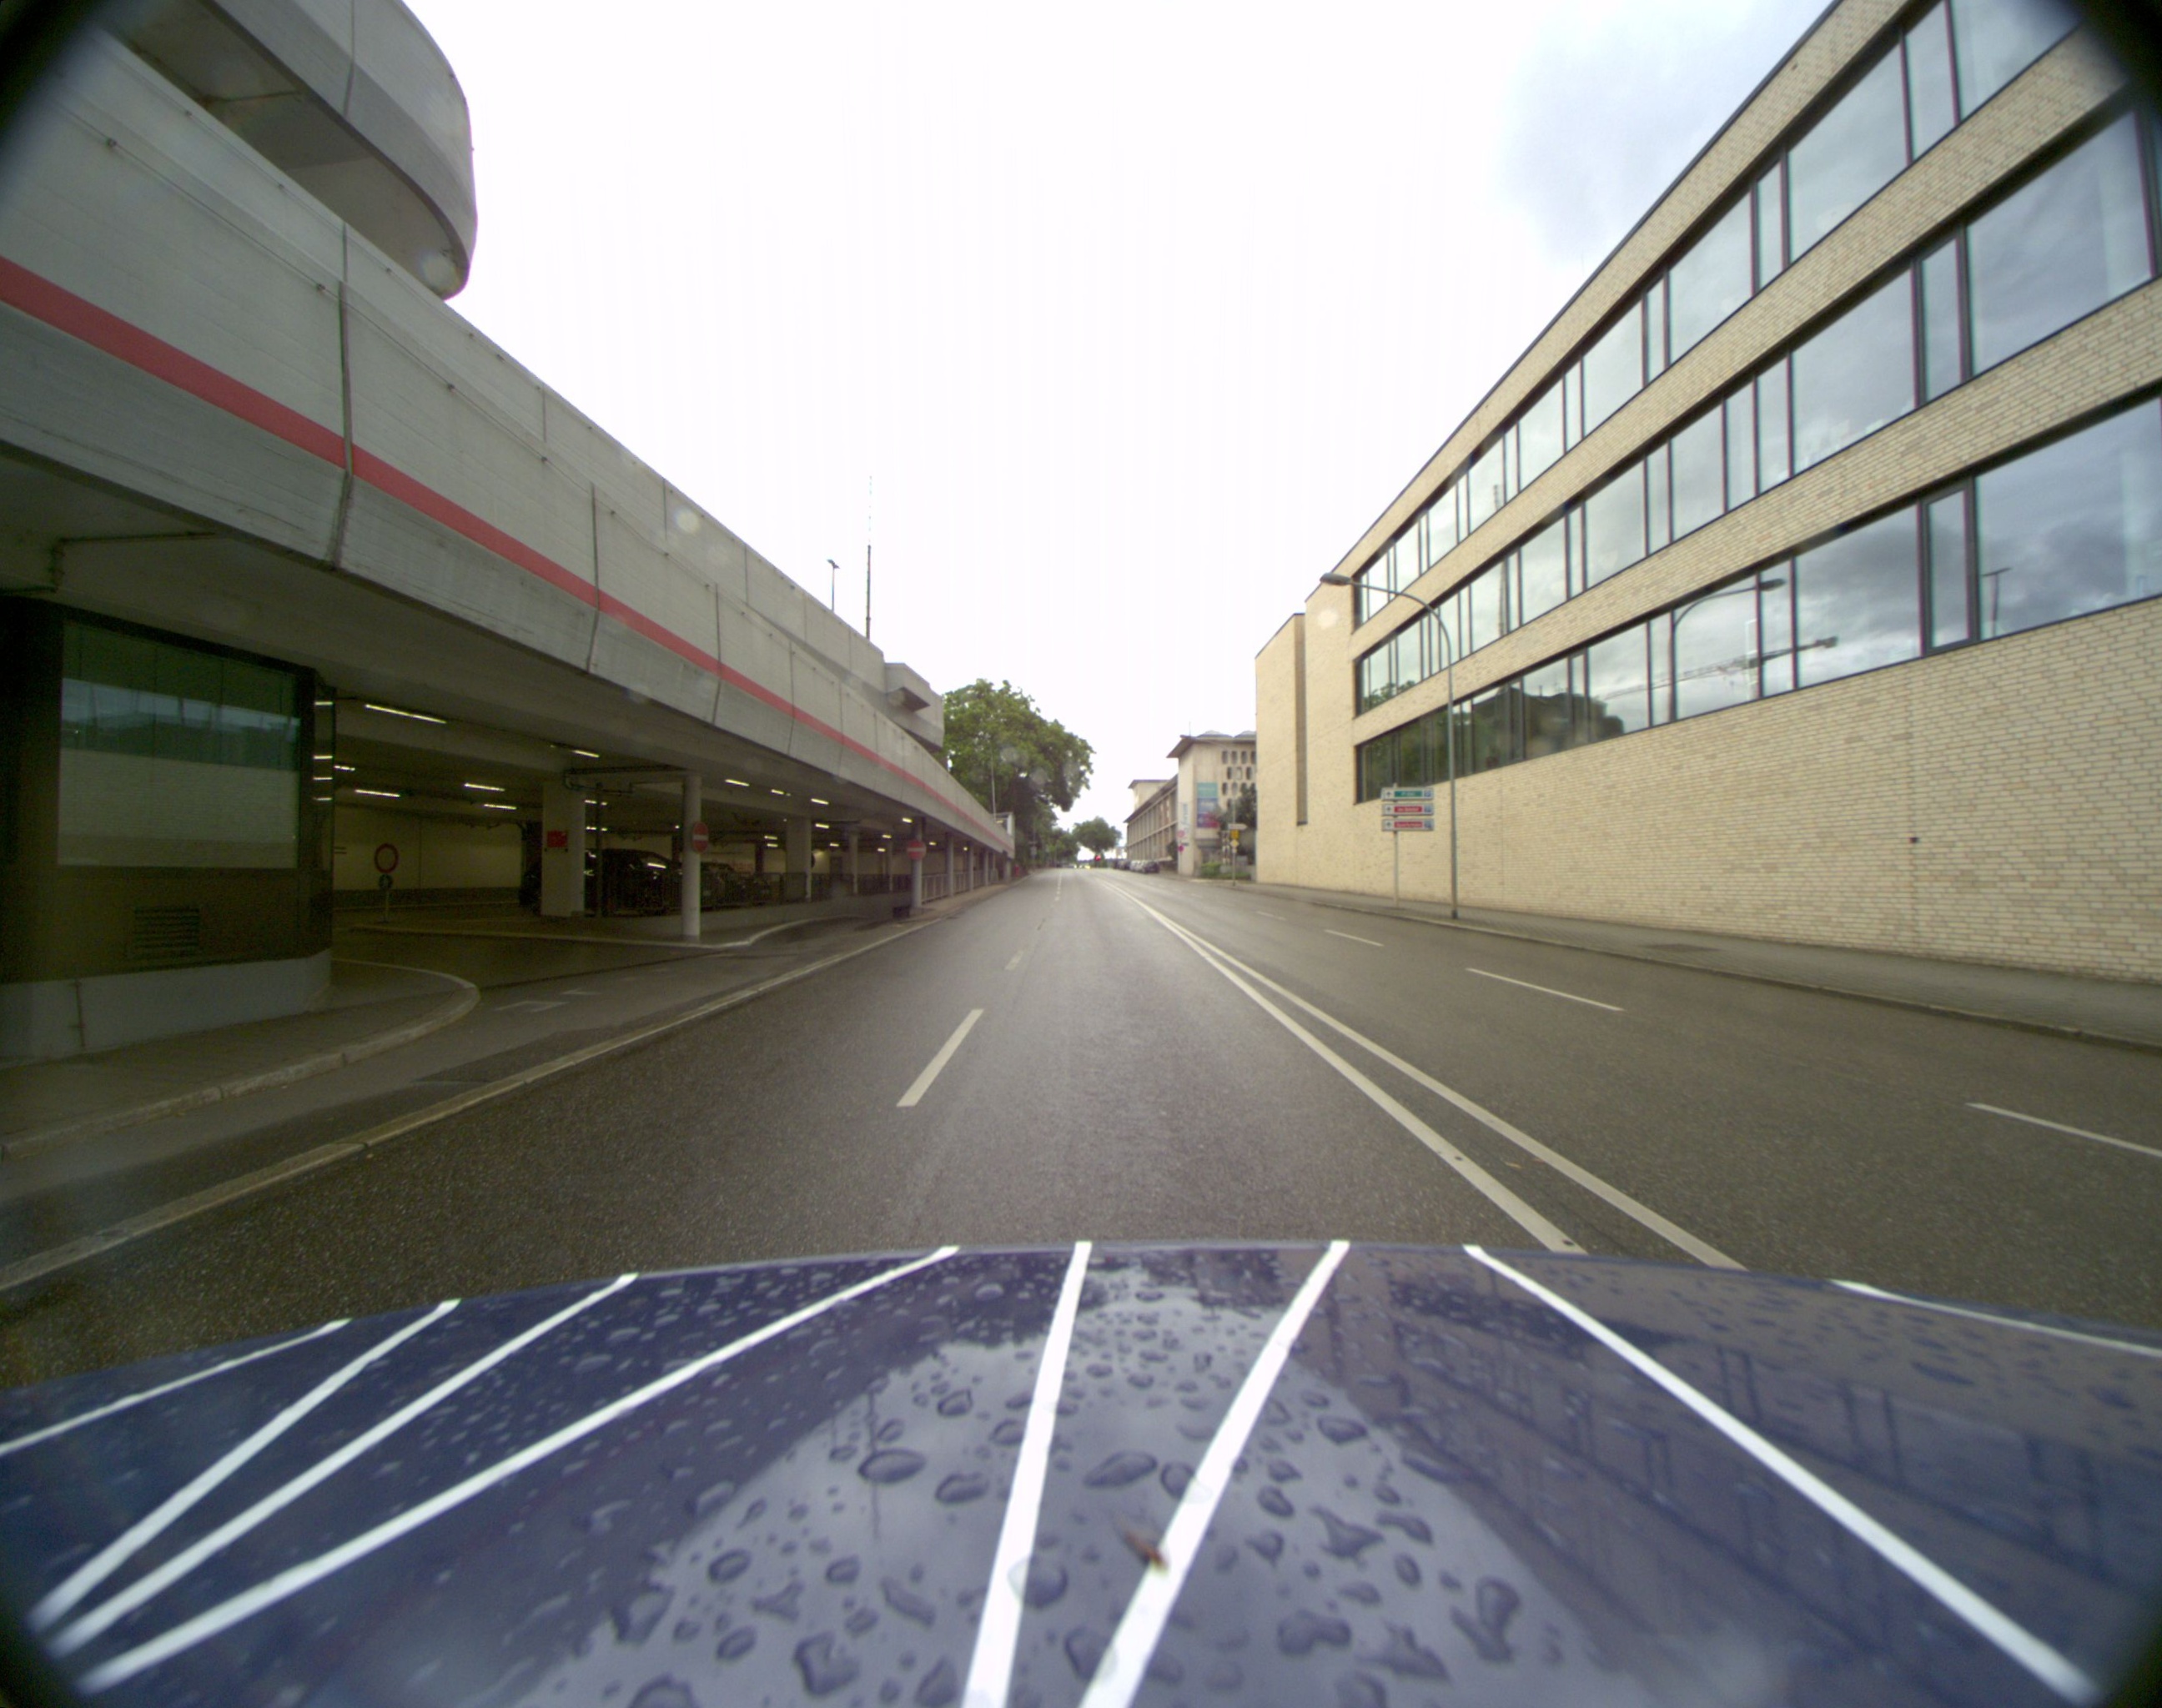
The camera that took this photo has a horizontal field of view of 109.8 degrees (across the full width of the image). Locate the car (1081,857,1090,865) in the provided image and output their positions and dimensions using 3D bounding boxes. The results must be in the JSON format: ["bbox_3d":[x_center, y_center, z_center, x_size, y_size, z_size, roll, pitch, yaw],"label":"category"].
[{"bbox_3d":[1.273,1.957,211.400,1.806,2.002,3.997,-2,1,-6],"label":"car"}]

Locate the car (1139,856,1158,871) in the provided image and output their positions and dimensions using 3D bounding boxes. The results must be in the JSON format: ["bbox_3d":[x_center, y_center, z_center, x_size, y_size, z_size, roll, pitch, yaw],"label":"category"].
[{"bbox_3d":[8.526,1.199,96.113,1.999,1.632,3.999,-2,1,-1],"label":"car"}]

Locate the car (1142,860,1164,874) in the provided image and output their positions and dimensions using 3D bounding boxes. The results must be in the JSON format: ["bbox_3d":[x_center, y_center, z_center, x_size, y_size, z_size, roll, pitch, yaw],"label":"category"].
[{"bbox_3d":[8.593,1.574,90.824,1.999,1.520,3.999,-2,1,-2],"label":"car"}]

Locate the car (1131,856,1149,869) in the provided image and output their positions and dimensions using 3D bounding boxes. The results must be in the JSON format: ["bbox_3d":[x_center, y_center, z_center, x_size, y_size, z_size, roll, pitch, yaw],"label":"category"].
[{"bbox_3d":[8.703,1.197,112.341,1.999,1.521,3.999,-10,1,-2],"label":"car"}]

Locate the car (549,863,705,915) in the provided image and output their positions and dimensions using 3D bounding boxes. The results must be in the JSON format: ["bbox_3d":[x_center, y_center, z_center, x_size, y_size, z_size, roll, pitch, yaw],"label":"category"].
[{"bbox_3d":[-13.727,1.042,23.107,3.730,1.496,1.809,0,-1,7],"label":"car"}]

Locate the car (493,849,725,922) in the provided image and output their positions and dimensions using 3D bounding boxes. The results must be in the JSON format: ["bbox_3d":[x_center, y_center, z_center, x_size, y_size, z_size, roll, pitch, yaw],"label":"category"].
[{"bbox_3d":[-11.369,0.747,18.493,4.586,1.630,1.823,-1,-1,4],"label":"car"}]

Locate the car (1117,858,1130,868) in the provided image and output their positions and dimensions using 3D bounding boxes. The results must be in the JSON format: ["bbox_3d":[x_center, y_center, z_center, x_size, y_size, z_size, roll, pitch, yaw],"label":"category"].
[{"bbox_3d":[7.917,1.690,142.416,1.999,1.637,3.998,-3,2,-2],"label":"car"}]

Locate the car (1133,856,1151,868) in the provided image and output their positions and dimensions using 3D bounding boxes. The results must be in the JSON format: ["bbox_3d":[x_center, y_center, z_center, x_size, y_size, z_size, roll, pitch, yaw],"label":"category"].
[{"bbox_3d":[8.551,1.147,106.522,1.999,1.482,4.185,-2,1,-1],"label":"car"}]

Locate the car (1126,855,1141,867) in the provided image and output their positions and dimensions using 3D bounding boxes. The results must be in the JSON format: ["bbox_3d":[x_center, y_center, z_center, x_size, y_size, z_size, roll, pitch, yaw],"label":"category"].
[{"bbox_3d":[8.309,1.124,121.206,1.999,1.701,3.999,-3,1,-1],"label":"car"}]

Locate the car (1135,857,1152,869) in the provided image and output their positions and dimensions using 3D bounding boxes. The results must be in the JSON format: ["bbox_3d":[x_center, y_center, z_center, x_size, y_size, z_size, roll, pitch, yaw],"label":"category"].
[{"bbox_3d":[8.334,1.189,101.657,1.998,1.503,3.999,-2,1,0],"label":"car"}]
